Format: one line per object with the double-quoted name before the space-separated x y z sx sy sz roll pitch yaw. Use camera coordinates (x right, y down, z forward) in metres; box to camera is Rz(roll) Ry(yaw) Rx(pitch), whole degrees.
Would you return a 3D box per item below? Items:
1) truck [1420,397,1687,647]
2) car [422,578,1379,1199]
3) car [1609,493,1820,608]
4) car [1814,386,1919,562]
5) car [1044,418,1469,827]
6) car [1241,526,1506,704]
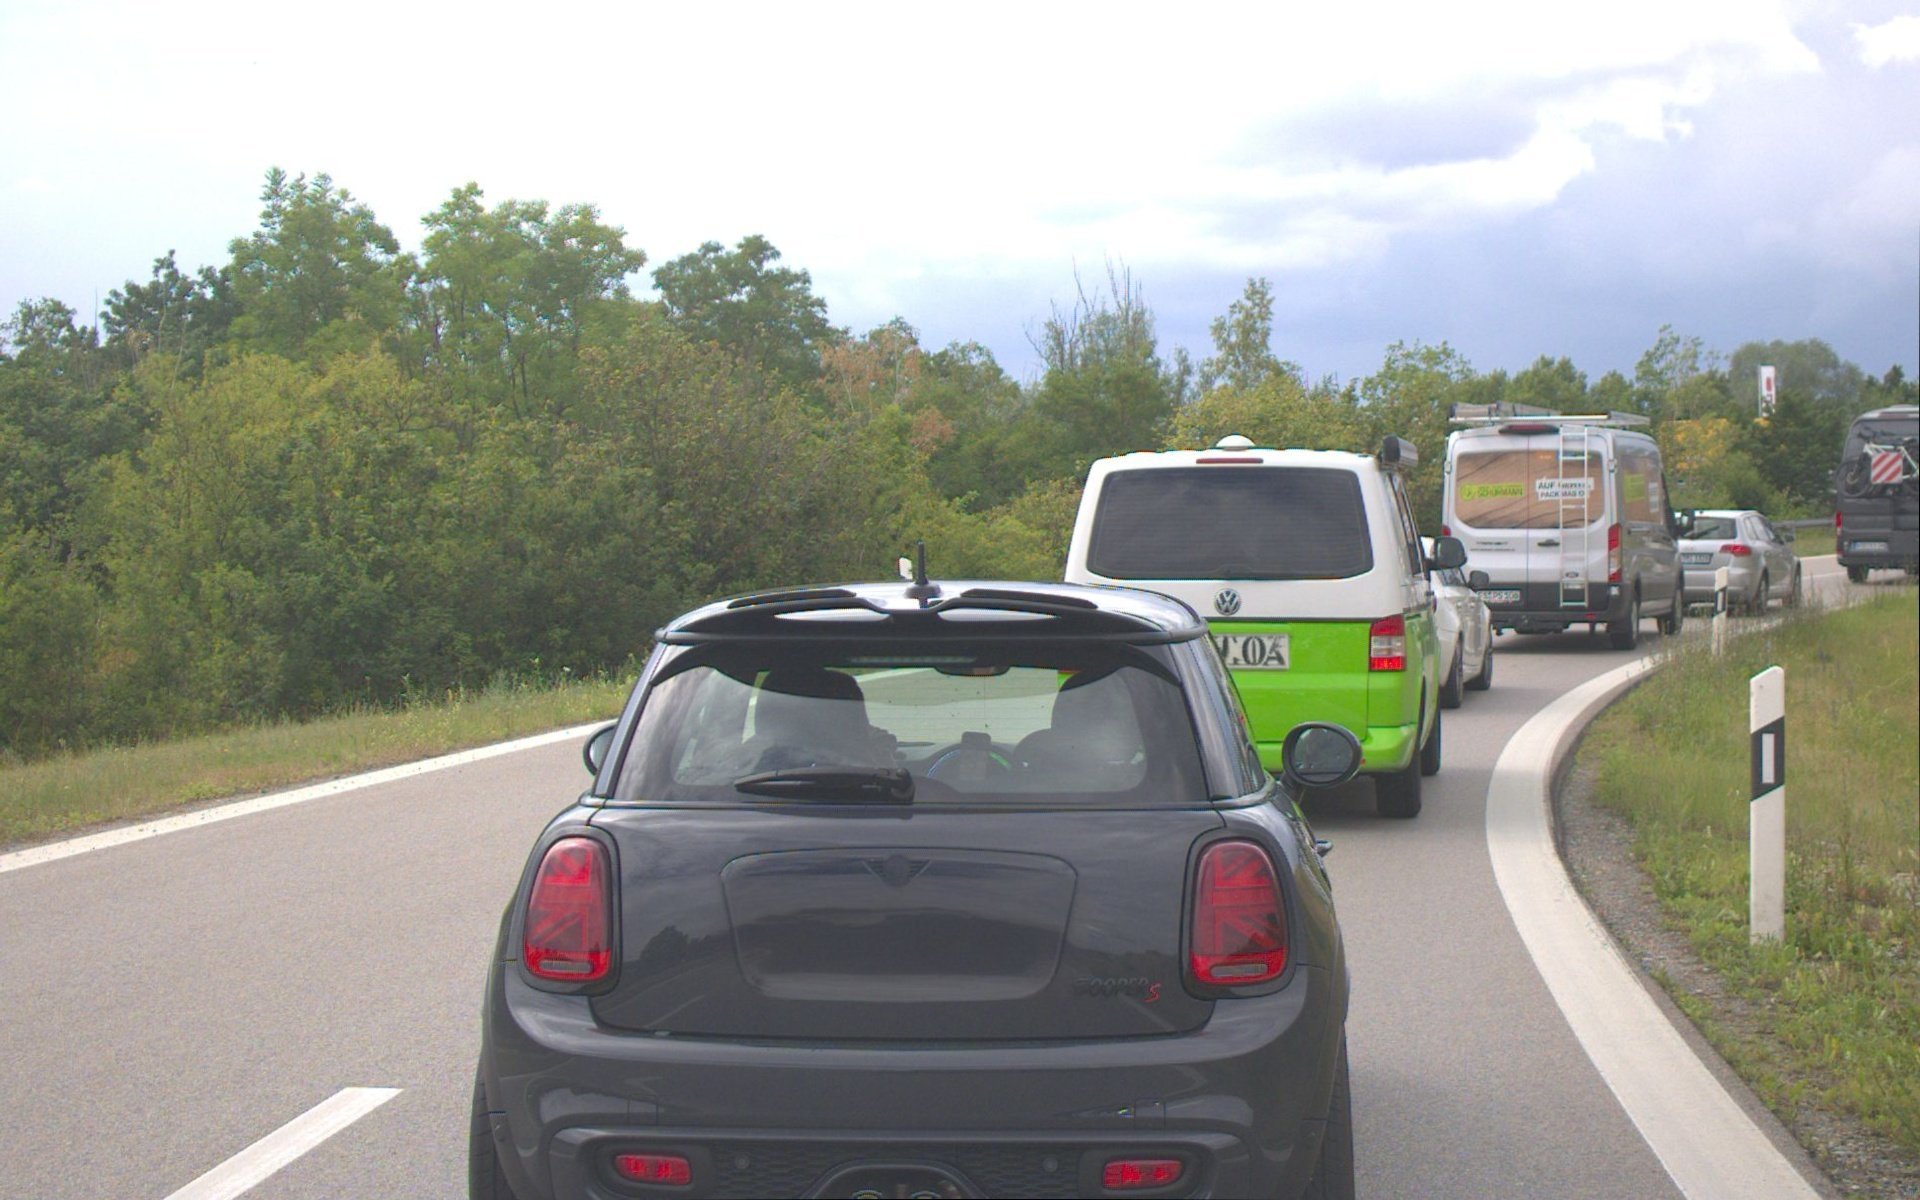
"truck" 6.842 -0.881 39.170 2.180 2.649 5.104 0 1 19
"car" 0.002 0.665 8.075 1.727 1.409 3.724 1 0 4
"car" 10.417 -0.667 47.297 1.869 1.505 3.994 0 0 27
"car" 15.887 -2.031 56.789 2.109 2.787 3.992 1 1 35
"car" 1.745 0.092 19.010 1.785 2.007 3.998 1 0 13
"car" 3.550 0.107 29.000 1.763 1.394 3.723 0 0 14
